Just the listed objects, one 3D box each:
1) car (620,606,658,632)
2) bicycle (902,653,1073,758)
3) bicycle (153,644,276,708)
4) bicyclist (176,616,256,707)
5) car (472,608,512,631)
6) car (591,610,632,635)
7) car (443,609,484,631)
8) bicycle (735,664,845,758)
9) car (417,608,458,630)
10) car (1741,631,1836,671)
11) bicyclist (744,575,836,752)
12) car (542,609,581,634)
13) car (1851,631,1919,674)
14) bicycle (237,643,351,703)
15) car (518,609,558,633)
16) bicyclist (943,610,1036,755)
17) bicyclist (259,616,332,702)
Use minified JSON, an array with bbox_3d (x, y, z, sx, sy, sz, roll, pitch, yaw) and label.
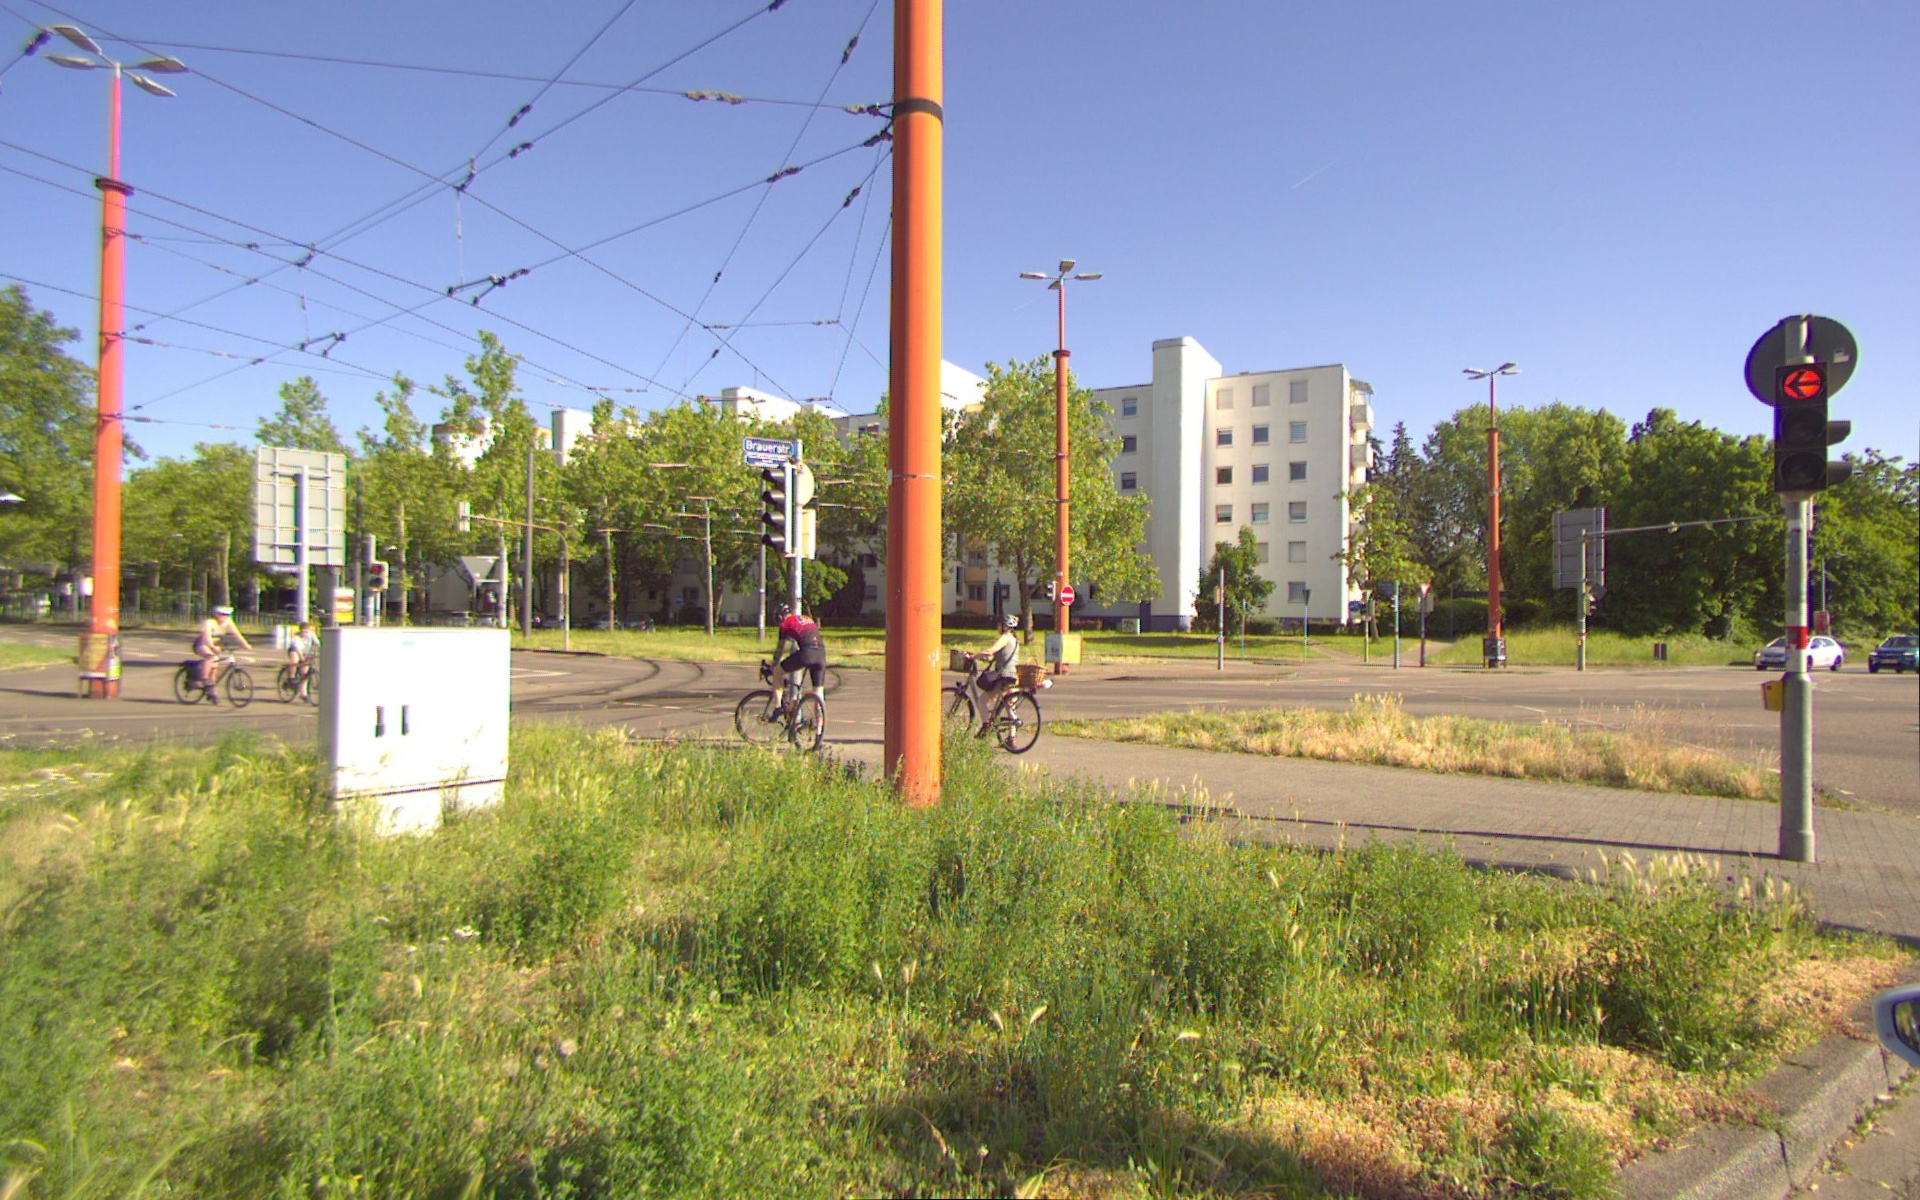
[{"bbox_3d":[-23.390,1.397,73.427,1.963,1.840,3.995,1,-1,-8],"label":"car"},{"bbox_3d":[0.323,1.224,12.128,1.855,1.102,0.925,0,-1,34],"label":"bicycle"},{"bbox_3d":[-14.020,1.410,18.904,1.849,1.102,0.928,0,-1,18],"label":"bicycle"},{"bbox_3d":[-13.993,1.132,18.906,0.726,1.659,0.934,0,-1,18],"label":"bicyclist"},{"bbox_3d":[-39.270,1.639,84.337,1.963,1.840,3.995,1,-1,-8],"label":"car"},{"bbox_3d":[-26.096,1.684,75.339,1.962,1.840,3.997,1,-1,-5],"label":"car"},{"bbox_3d":[-42.659,1.697,86.459,1.963,1.840,3.995,1,-1,-8],"label":"car"},{"bbox_3d":[-2.107,1.305,12.243,0.915,0.976,1.747,1,-1,-24],"label":"bicycle"},{"bbox_3d":[-46.008,1.673,88.488,1.963,1.840,3.995,1,-1,-8],"label":"car"},{"bbox_3d":[35.155,2.148,42.610,4.075,1.594,1.983,1,-1,-32],"label":"car"},{"bbox_3d":[-2.058,0.746,12.147,0.921,2.040,0.736,1,-1,-25],"label":"bicyclist"},{"bbox_3d":[-31.179,1.673,78.688,1.963,1.840,3.995,1,-1,-8],"label":"car"},{"bbox_3d":[37.278,2.036,39.869,4.079,1.594,1.981,2,-1,-35],"label":"car"},{"bbox_3d":[-13.242,1.440,19.989,1.849,1.102,0.928,0,-1,18],"label":"bicycle"},{"bbox_3d":[-33.795,1.668,80.538,1.963,1.840,3.995,1,-1,-8],"label":"car"},{"bbox_3d":[0.367,0.955,12.105,0.728,1.659,0.931,0,-1,35],"label":"bicyclist"},{"bbox_3d":[-13.203,1.160,19.977,0.726,1.659,0.934,0,-1,18],"label":"bicyclist"}]
